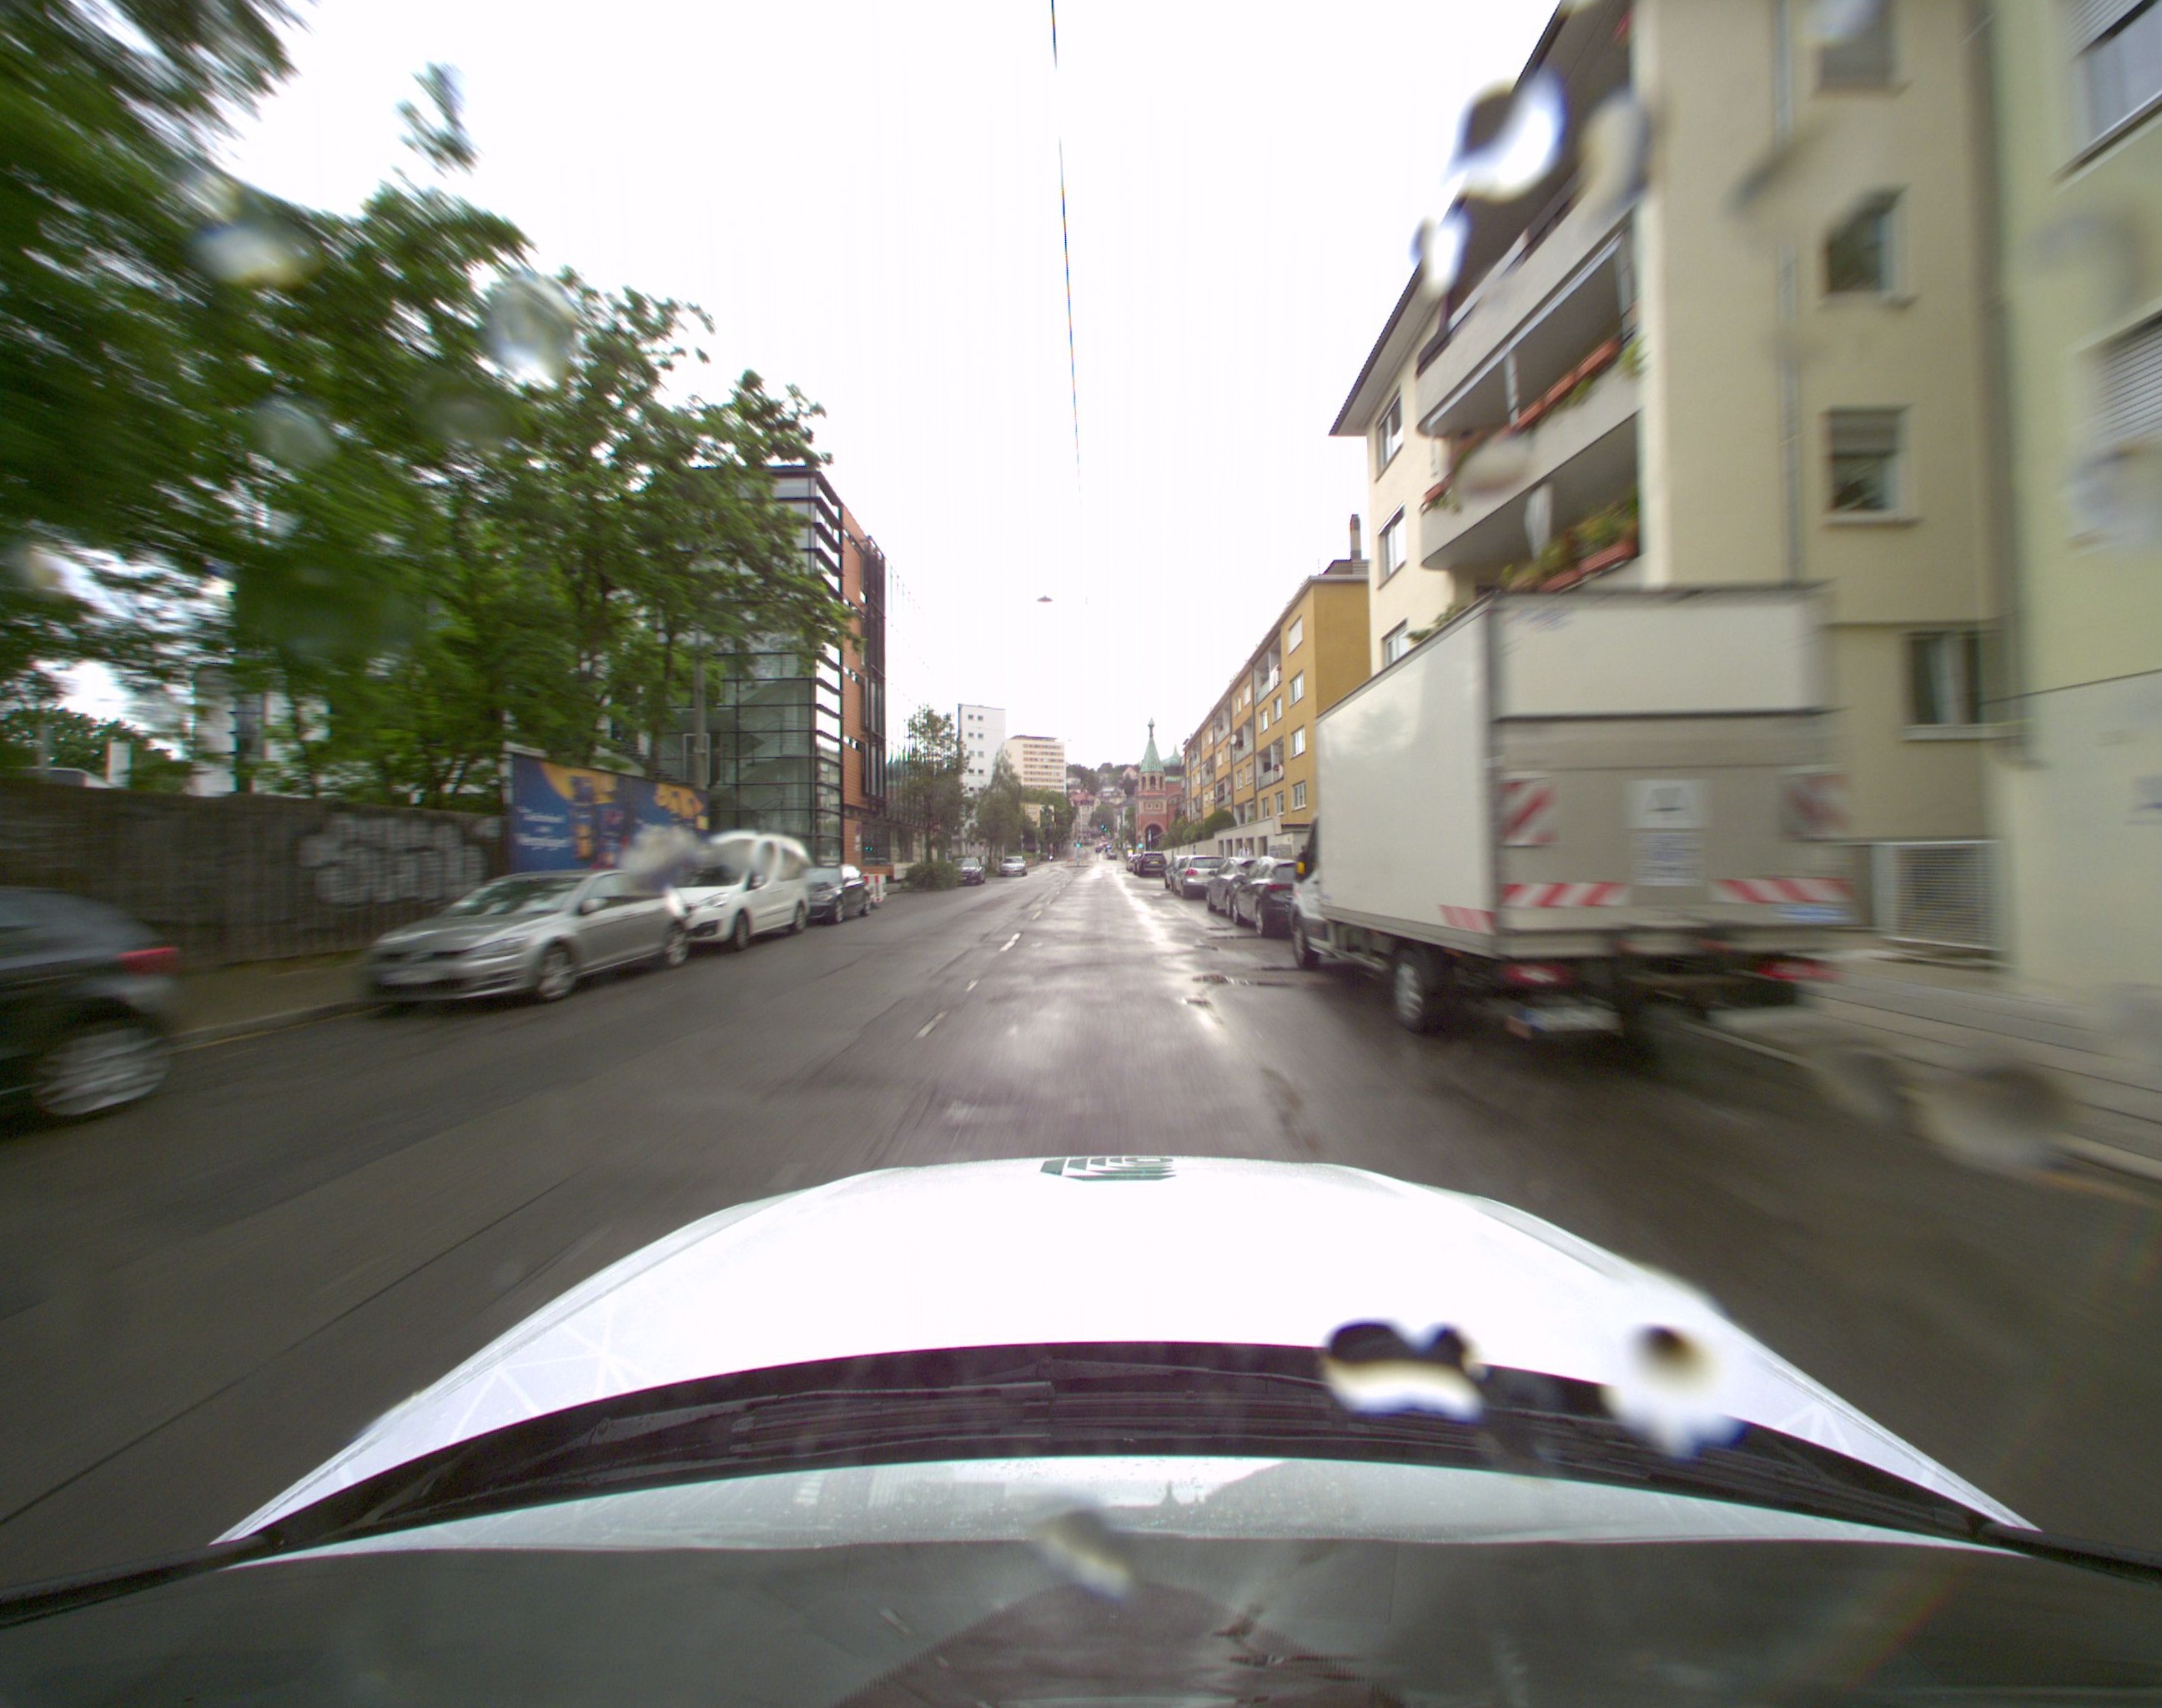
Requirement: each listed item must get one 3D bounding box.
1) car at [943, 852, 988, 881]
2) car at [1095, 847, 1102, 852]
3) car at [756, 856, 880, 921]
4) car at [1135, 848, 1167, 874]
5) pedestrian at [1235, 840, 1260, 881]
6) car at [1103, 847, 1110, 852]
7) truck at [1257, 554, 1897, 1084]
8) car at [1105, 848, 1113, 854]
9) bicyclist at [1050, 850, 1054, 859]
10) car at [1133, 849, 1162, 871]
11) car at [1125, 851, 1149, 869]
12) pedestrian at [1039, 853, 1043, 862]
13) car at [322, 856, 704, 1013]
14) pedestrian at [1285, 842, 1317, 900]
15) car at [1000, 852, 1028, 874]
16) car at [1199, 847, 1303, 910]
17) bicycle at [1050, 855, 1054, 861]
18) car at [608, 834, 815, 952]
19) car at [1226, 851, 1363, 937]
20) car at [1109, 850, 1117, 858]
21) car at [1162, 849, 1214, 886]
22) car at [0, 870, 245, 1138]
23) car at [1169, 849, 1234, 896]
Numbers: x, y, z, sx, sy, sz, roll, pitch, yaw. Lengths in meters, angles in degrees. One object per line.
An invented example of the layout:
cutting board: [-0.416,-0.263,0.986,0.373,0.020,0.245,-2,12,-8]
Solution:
car: [-6.231,0.671,44.418,1.798,1.450,4.655,-2,-1,-1]
car: [5.238,-1.382,242.702,1.902,1.510,4.000,0,0,1]
car: [-6.341,0.788,20.154,1.719,1.375,4.341,-2,-1,-1]
car: [4.614,0.460,54.089,1.811,1.652,4.076,0,0,1]
pedestrian: [7.362,0.274,36.030,0.758,1.732,0.749,-3,2,34]
car: [7.636,-1.288,241.620,1.902,1.510,4.000,1,0,1]
truck: [3.762,-0.203,8.461,2.460,3.172,7.038,-1,0,1]
car: [7.749,-0.826,225.389,1.886,1.510,4.000,1,0,1]
bicyclist: [-5.434,0.132,150.900,0.675,1.661,0.649,-1,-1,-2]
car: [4.750,0.427,58.645,1.811,1.522,4.076,0,0,1]
car: [4.903,0.546,71.597,1.811,1.522,4.076,1,0,1]
pedestrian: [-8.277,0.771,169.156,0.886,1.893,0.921,-1,0,-5]
car: [-6.516,0.796,10.063,1.677,1.462,4.276,-2,-1,0]
pedestrian: [6.398,0.495,23.691,0.661,1.603,0.745,-5,0,5]
car: [-4.890,0.656,59.900,1.704,1.450,4.293,-2,-1,0]
car: [4.186,0.595,20.621,1.659,1.421,3.917,-1,-1,-2]
bicycle: [-5.431,0.697,150.925,0.675,1.107,1.799,-1,-1,-2]
car: [-6.500,0.627,14.933,1.718,1.800,4.344,-2,-1,0]
car: [3.978,0.670,15.836,1.657,1.421,4.043,-1,0,1]
car: [7.345,-0.042,188.611,1.724,1.653,4.004,-1,0,4]
car: [4.413,0.549,34.116,1.658,1.400,3.920,-1,0,0]
car: [-6.544,0.819,3.571,1.677,1.398,3.910,-2,-1,0]
car: [4.159,0.606,28.619,1.658,1.502,3.920,-1,0,0]
